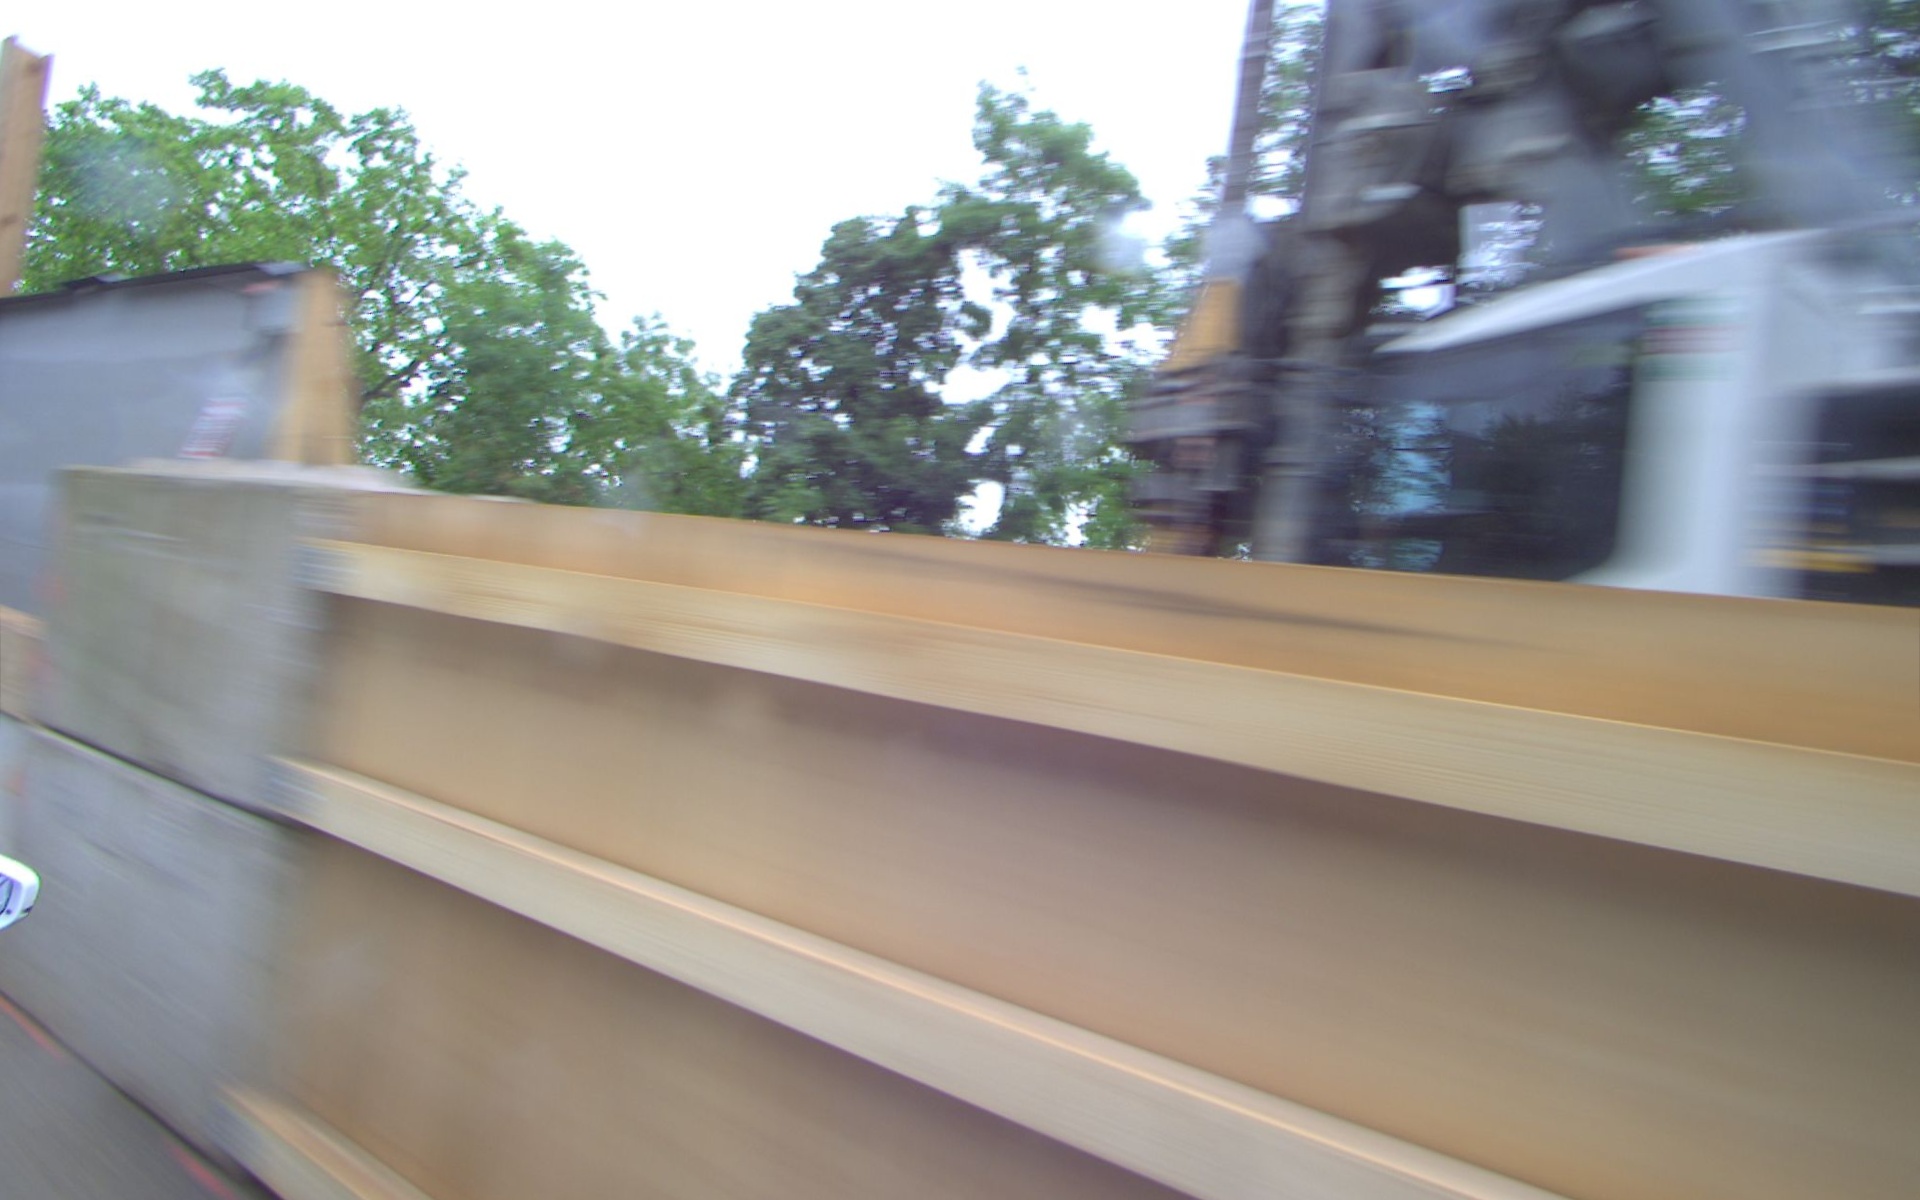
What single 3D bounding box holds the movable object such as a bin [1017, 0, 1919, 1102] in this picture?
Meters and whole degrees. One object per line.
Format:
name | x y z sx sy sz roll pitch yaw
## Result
movable object such as a bin | 3.967 -1.038 4.235 3.655 5.126 7.109 7 -2 -30
